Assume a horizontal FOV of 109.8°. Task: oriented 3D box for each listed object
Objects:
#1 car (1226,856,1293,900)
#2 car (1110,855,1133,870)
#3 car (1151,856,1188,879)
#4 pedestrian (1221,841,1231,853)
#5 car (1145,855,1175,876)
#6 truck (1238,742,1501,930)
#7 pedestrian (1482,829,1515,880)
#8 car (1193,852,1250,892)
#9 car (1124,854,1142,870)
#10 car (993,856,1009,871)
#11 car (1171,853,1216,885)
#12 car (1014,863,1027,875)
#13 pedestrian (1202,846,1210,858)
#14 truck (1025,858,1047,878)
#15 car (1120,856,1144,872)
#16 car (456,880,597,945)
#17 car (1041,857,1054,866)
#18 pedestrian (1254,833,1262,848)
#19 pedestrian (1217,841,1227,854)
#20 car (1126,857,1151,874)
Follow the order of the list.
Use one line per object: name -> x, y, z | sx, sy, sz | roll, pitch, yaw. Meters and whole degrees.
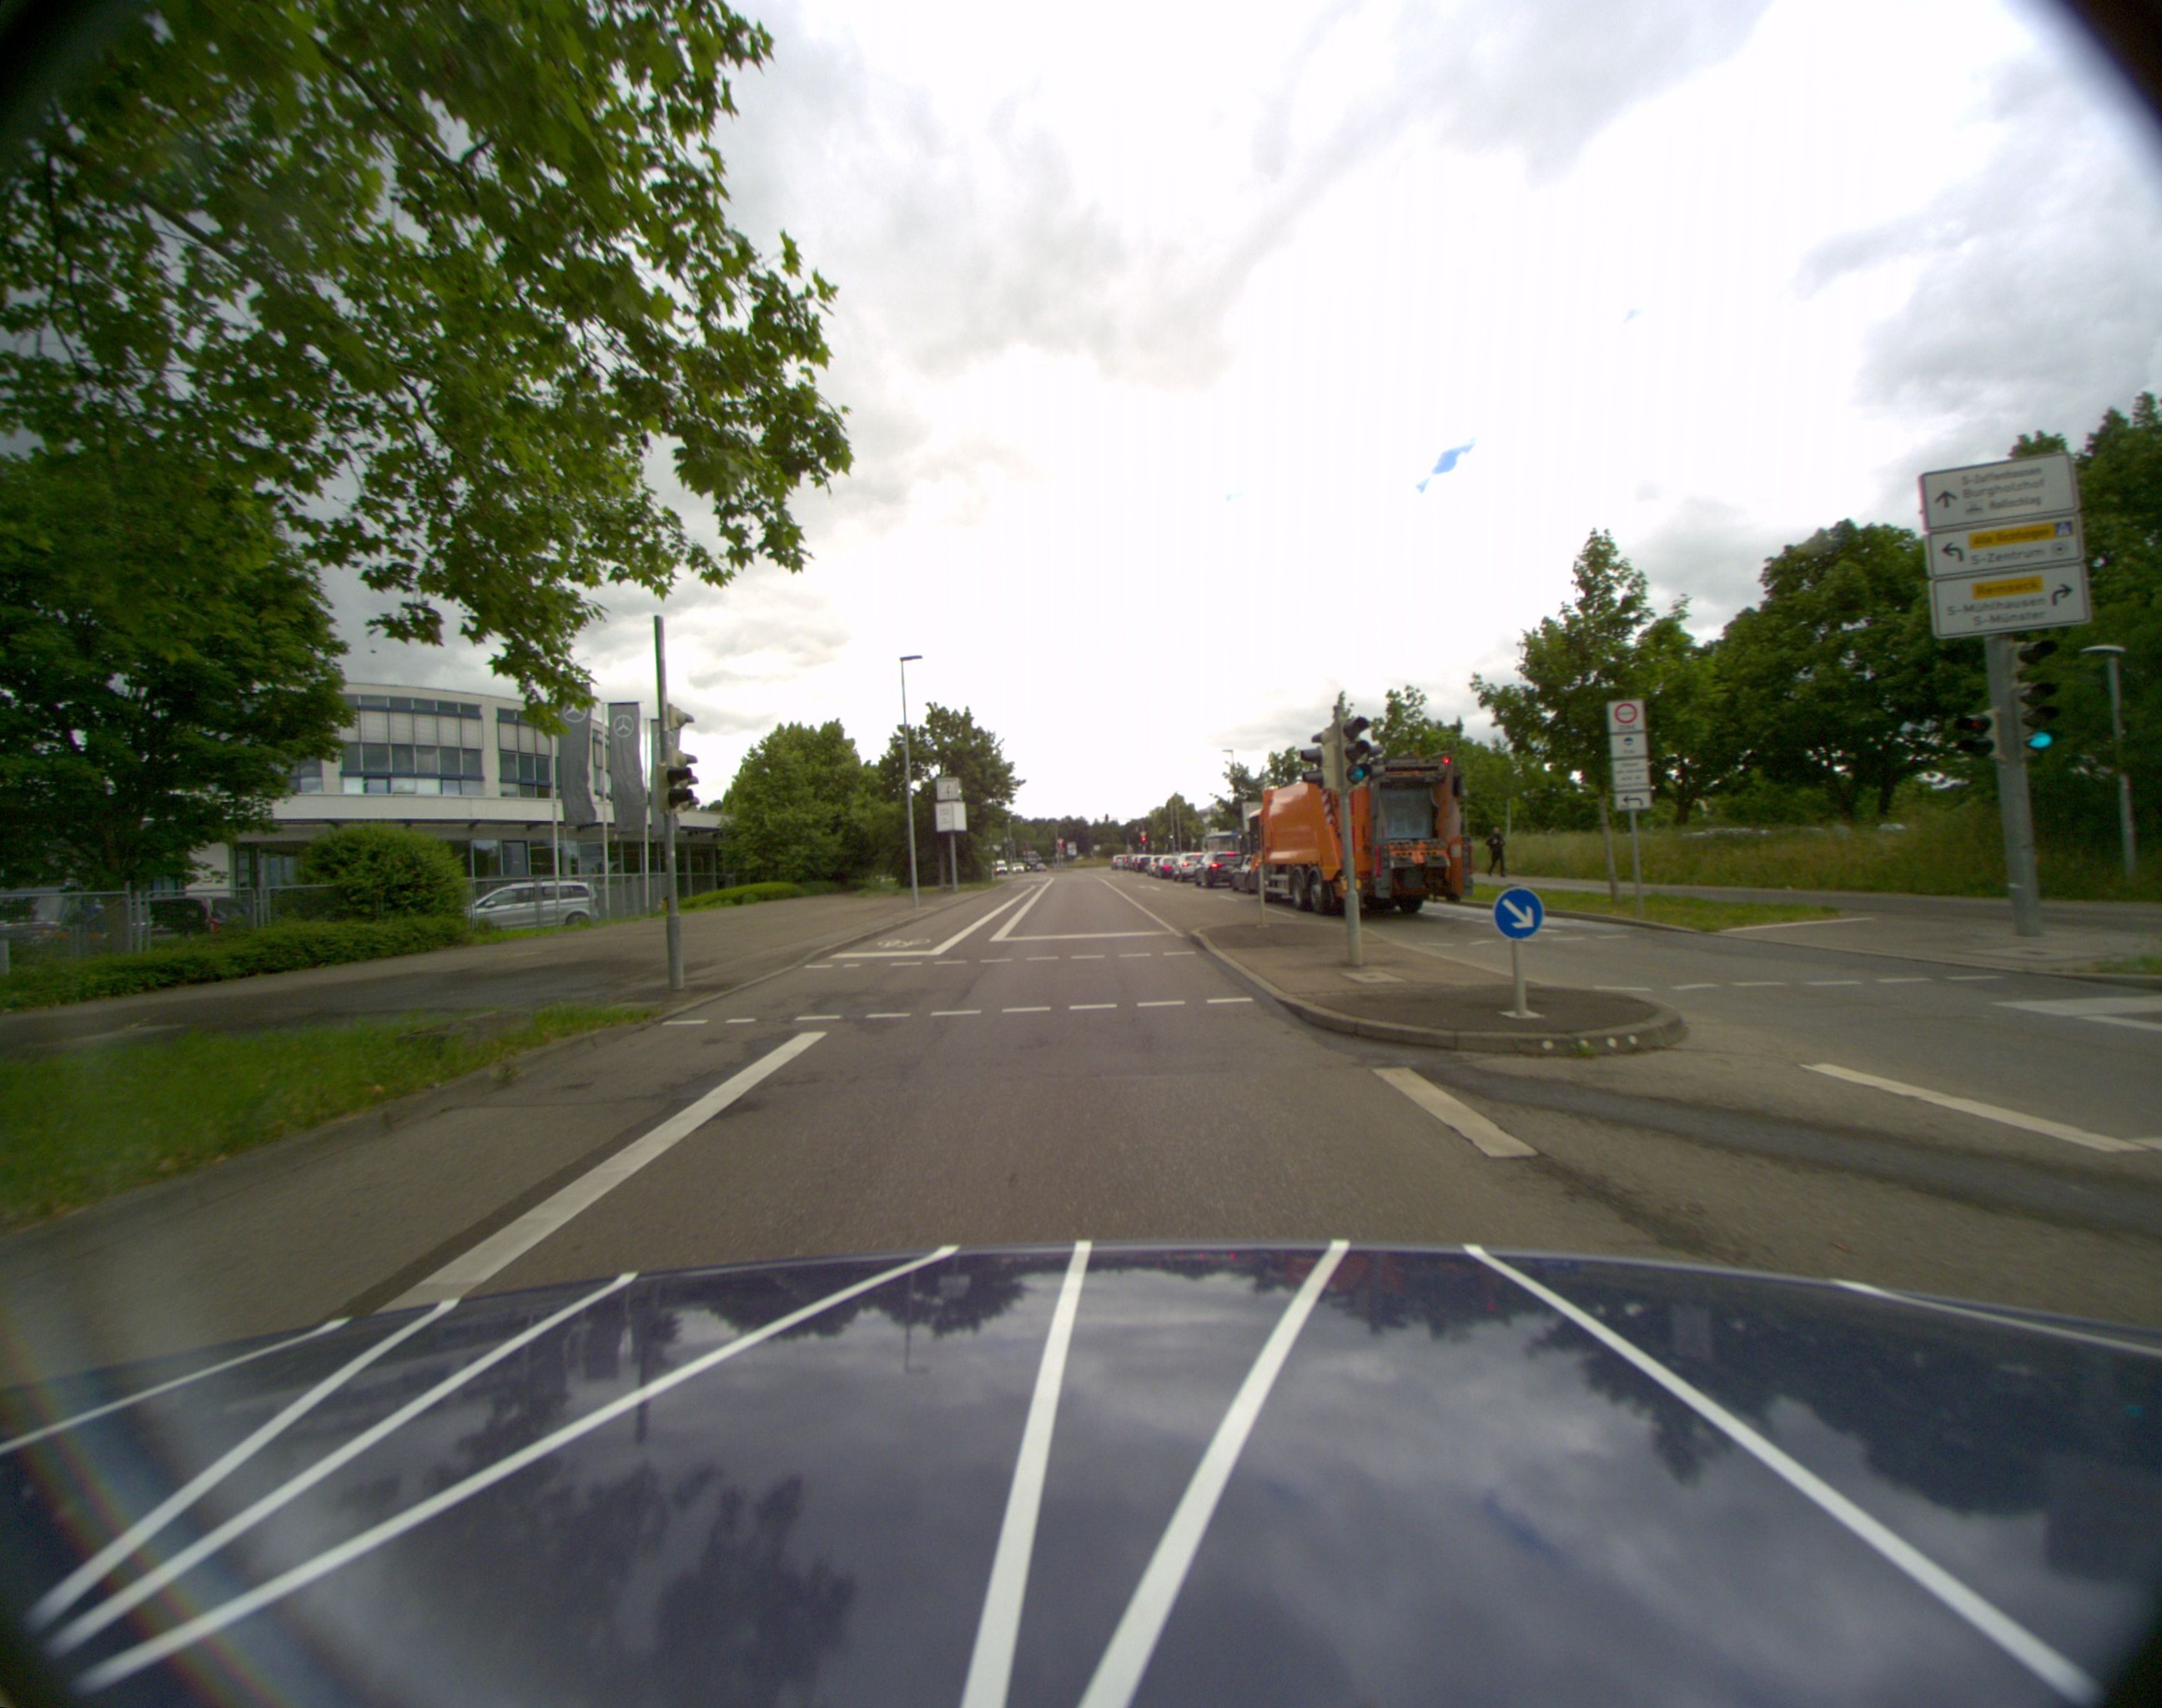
car -> 6.564, 0.840, 28.311 | 1.437, 1.449, 3.894 | -3, 0, -1
car -> 4.490, 0.951, 84.542 | 1.832, 1.526, 4.218 | -3, 0, -5
car -> 5.732, 0.864, 49.501 | 1.644, 1.382, 4.885 | -3, 0, -1
pedestrian -> 15.330, -0.730, 80.423 | 0.774, 1.219, 0.550 | -4, 0, -10
car -> 5.798, 0.846, 55.908 | 1.644, 1.382, 3.762 | -3, 0, -1
truck -> 6.587, -0.303, 19.624 | 2.713, 3.466, 9.994 | -3, 0, -1
pedestrian -> 15.329, 0.029, 27.901 | 0.723, 1.825, 0.677 | -3, 0, -1
car -> 6.250, 0.779, 34.212 | 1.644, 1.576, 4.060 | -3, 0, -1
car -> 5.309, 0.834, 78.167 | 1.432, 1.517, 2.774 | -3, 0, -4
car -> -14.909, 1.834, 141.504 | 2.228, 2.642, 5.955 | -5, 0, -12
car -> 6.207, 0.830, 42.425 | 1.735, 1.576, 4.223 | -3, 0, -1
car -> -11.272, 2.818, 142.584 | 2.120, 1.979, 4.986 | -6, 0, -4
pedestrian -> 14.097, -0.214, 85.481 | 0.550, 1.355, 0.774 | -4, 0, -9
truck -> -8.907, 2.774, 149.642 | 3.075, 3.497, 5.955 | -5, 0, -12
car -> 4.854, 0.949, 73.041 | 1.804, 1.324, 4.379 | -3, 0, -3
car -> -20.556, 2.103, 28.226 | 4.007, 2.013, 1.995 | -3, 0, -40
car -> -6.107, 1.393, 136.877 | 1.636, 1.433, 3.863 | -4, -1, -11
pedestrian -> 19.617, -1.468, 84.193 | 0.549, 1.660, 0.430 | -4, 0, 35
pedestrian -> 15.144, -0.709, 81.718 | 0.774, 1.322, 0.550 | -4, 0, -10
car -> 4.907, 0.975, 65.542 | 1.644, 1.324, 4.060 | -3, 0, -1
